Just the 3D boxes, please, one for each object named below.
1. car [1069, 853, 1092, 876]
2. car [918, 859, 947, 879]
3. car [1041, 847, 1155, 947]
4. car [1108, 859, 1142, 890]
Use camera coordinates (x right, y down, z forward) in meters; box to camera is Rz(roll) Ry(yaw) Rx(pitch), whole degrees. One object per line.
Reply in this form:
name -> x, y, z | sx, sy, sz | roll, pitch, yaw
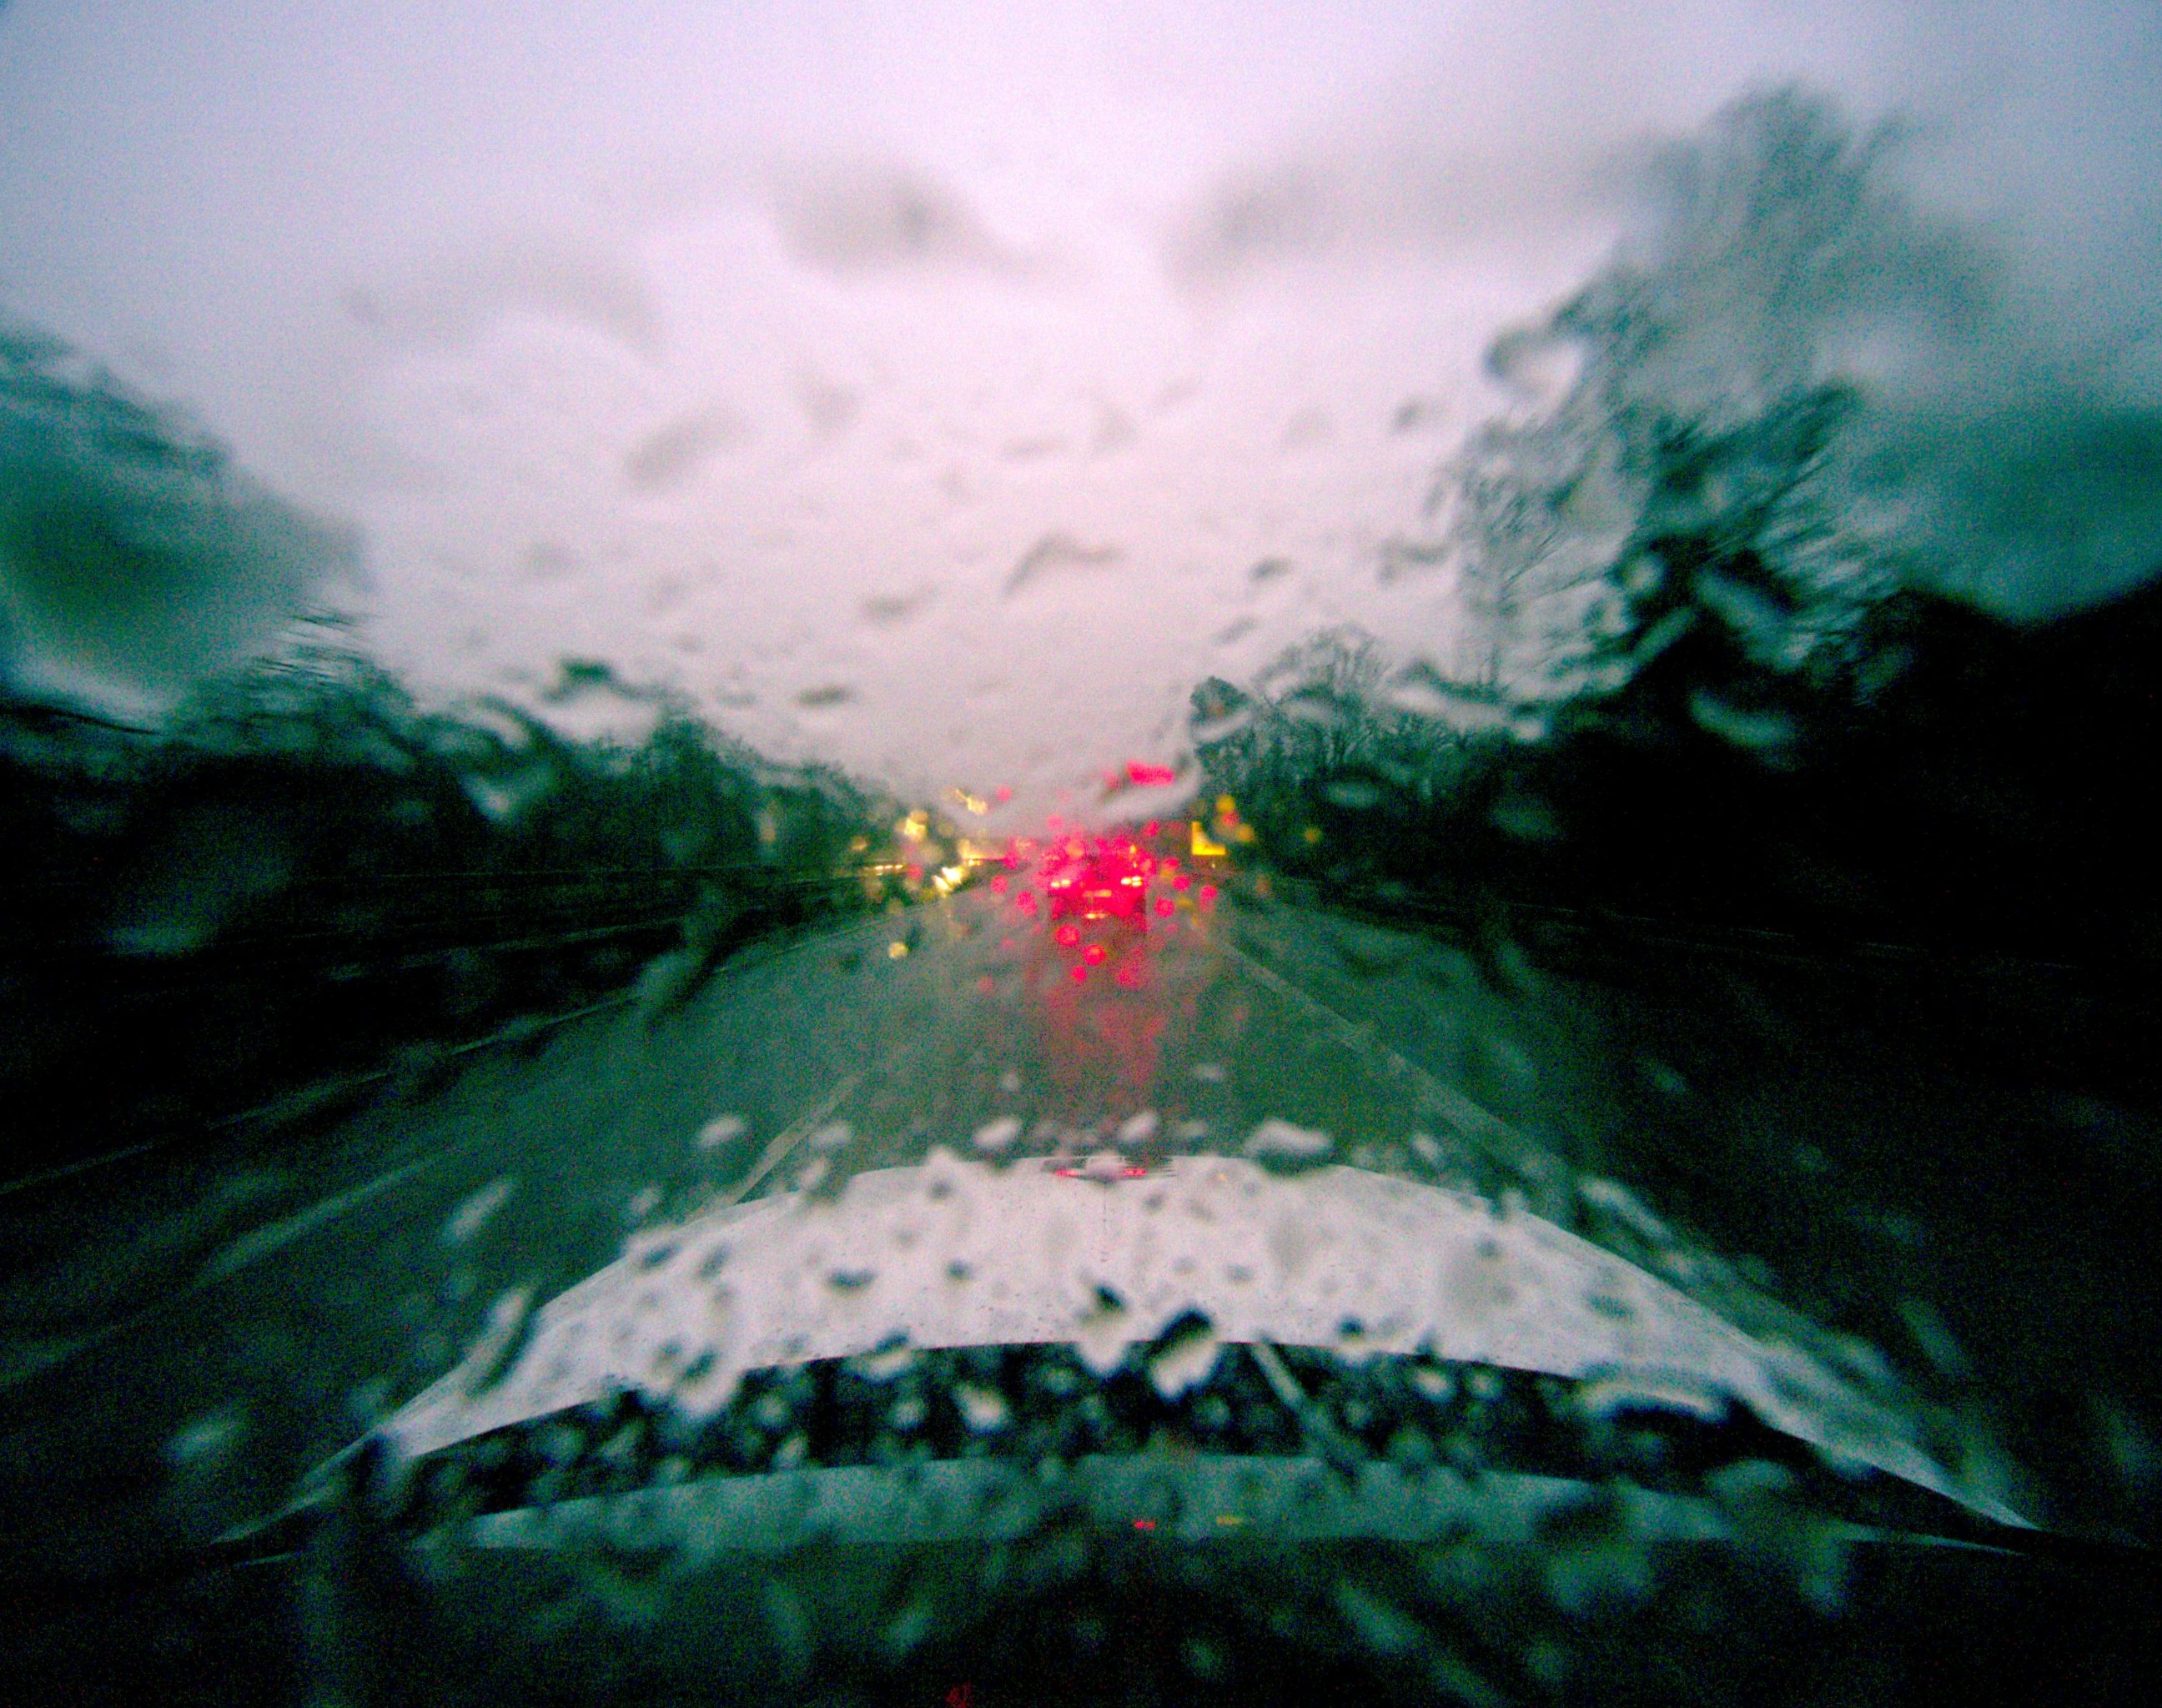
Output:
car -> -0.032, 0.916, 73.220 | 1.987, 2.014, 4.000 | -1, 0, 0
car -> -11.232, 1.128, 61.818 | 1.554, 1.499, 3.431 | -1, 0, 1
car -> 0.306, 0.762, 16.165 | 1.985, 1.715, 3.829 | -1, 0, 0
car -> 2.121, 0.976, 39.943 | 1.563, 1.408, 3.648 | -1, 0, 2
